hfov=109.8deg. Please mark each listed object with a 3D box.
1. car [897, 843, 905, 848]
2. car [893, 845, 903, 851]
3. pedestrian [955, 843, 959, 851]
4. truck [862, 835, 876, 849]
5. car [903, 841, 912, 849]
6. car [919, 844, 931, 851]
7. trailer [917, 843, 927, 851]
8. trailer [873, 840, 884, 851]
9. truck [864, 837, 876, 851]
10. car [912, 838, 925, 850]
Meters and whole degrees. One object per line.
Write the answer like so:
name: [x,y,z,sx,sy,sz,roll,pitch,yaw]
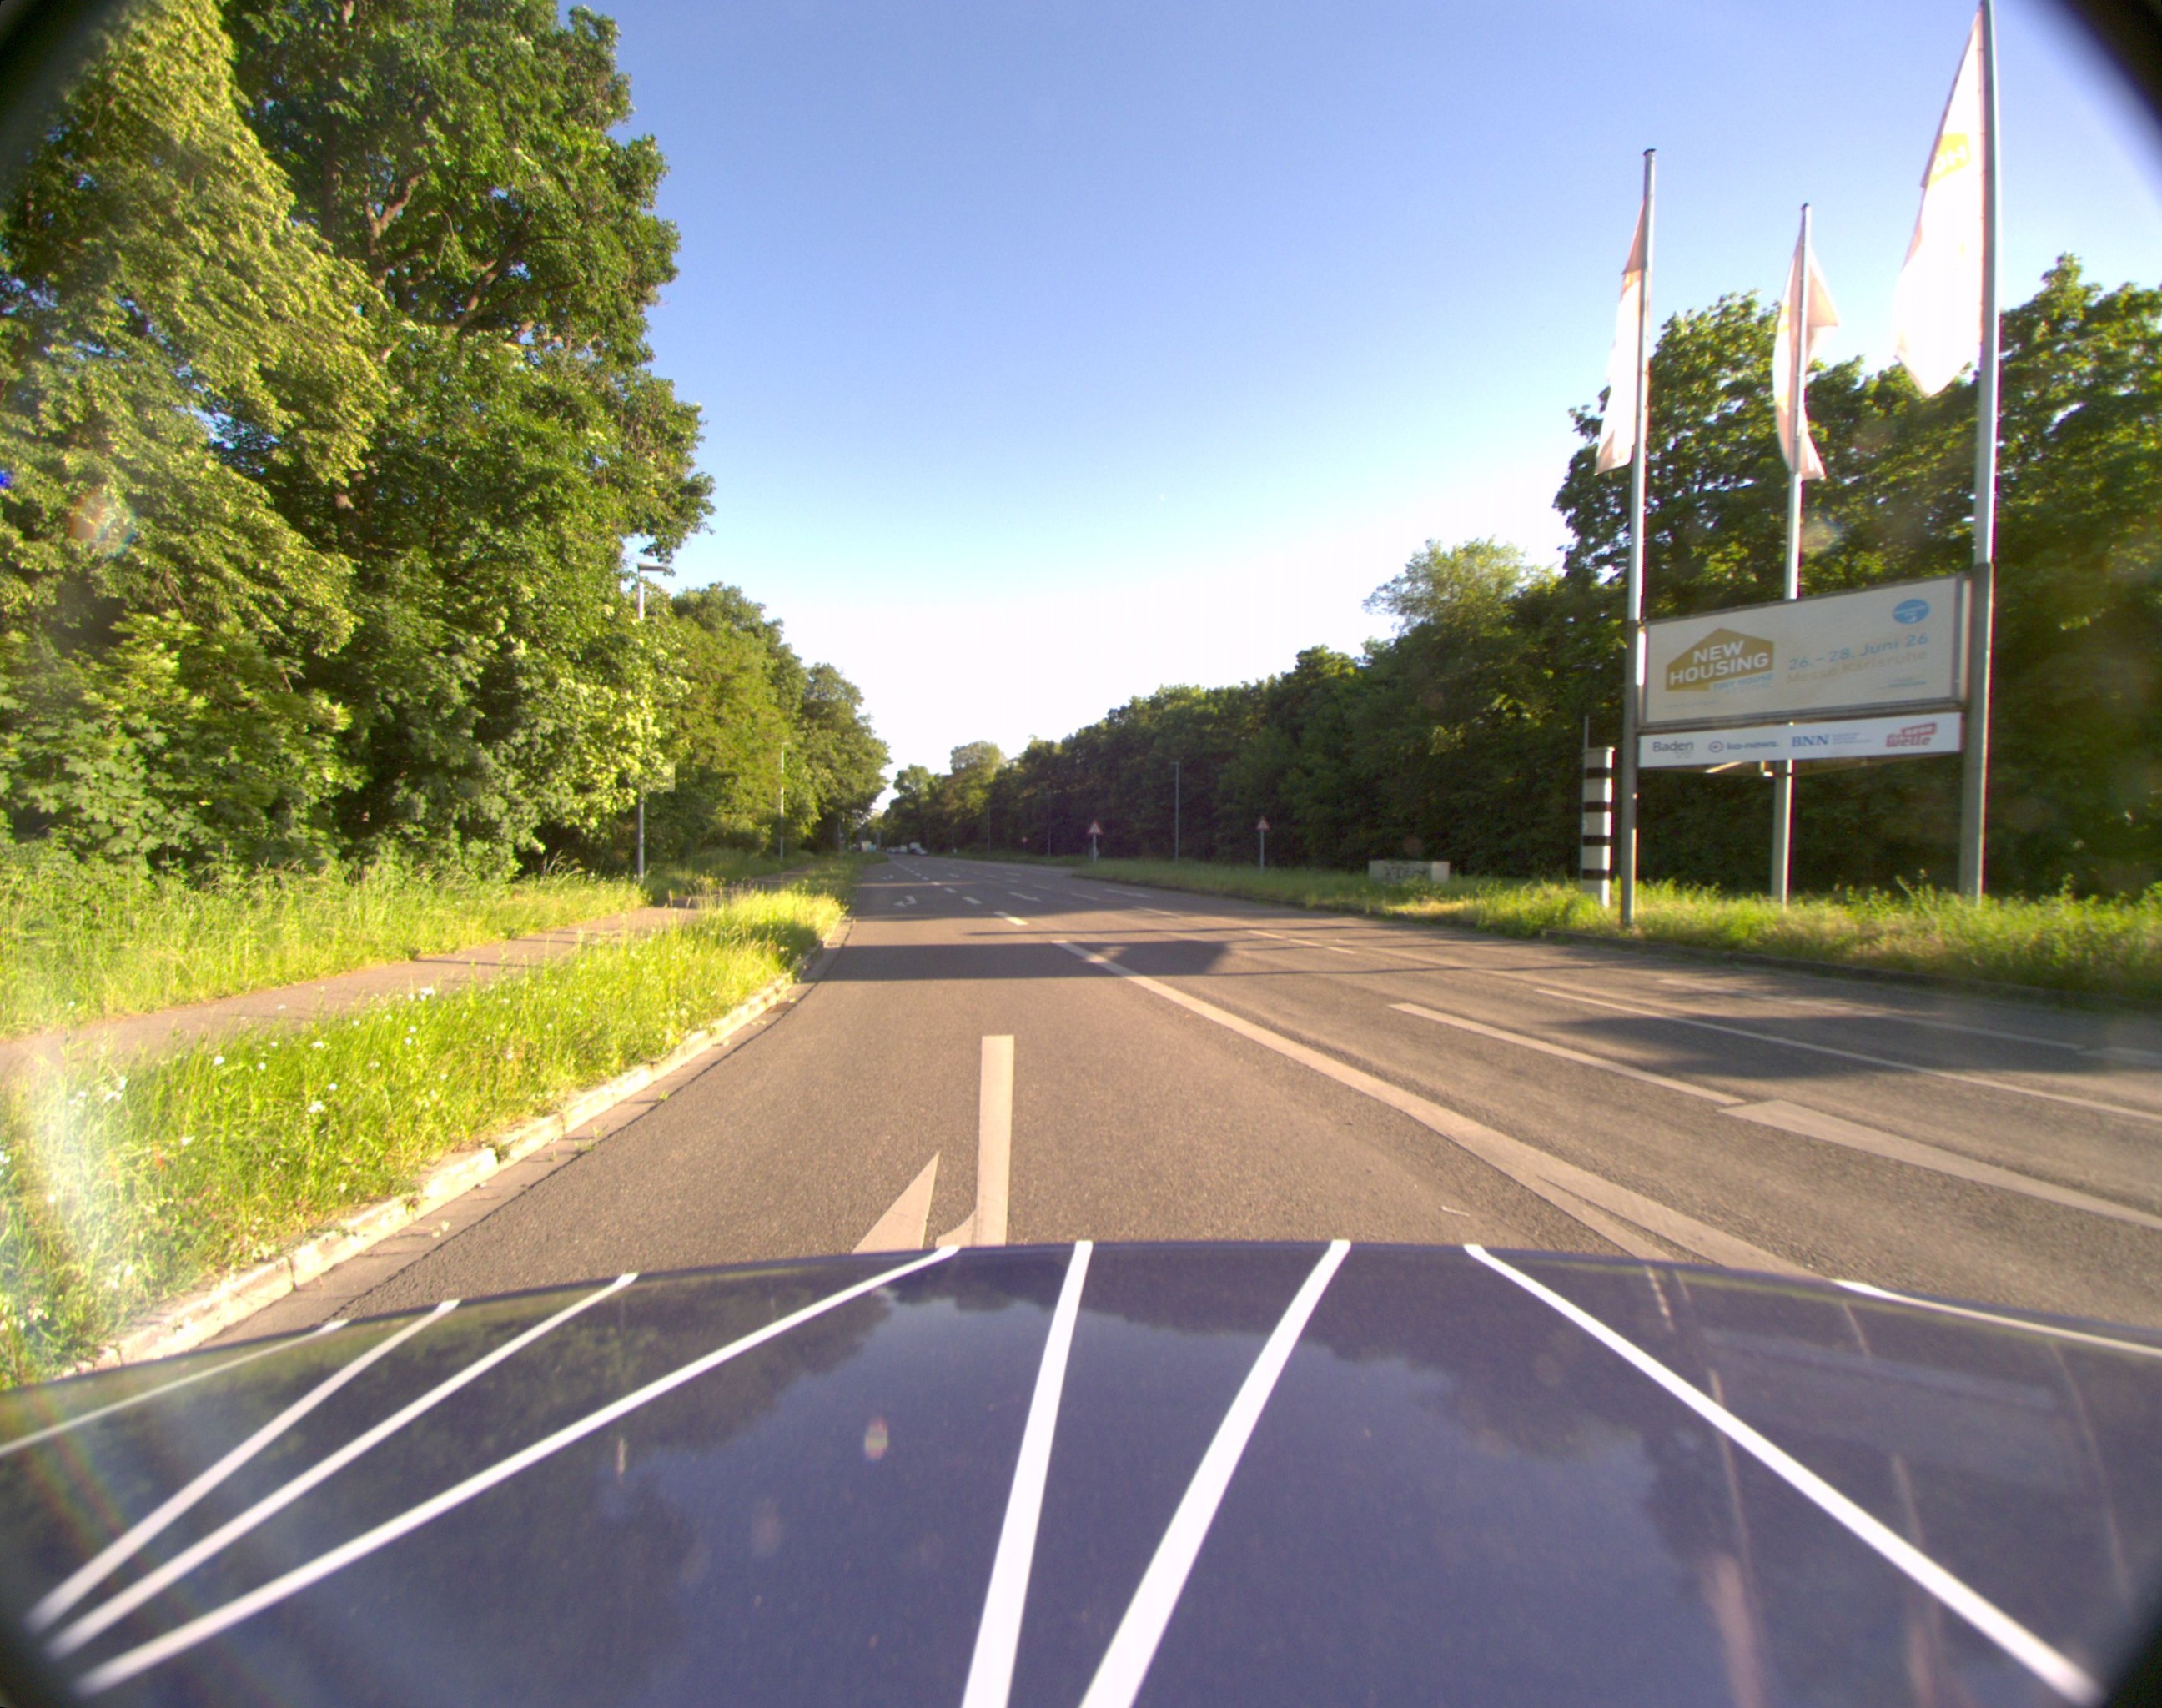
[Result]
car: [-52.875,-2.533,222.738,1.809,1.496,3.905,2,1,-19]
car: [-46.363,-1.631,192.623,1.836,1.447,4.472,0,1,-20]
pedestrian: [-24.503,-1.400,150.521,0.714,1.556,0.824,1,1,-16]
truck: [-50.950,-2.956,182.318,2.710,3.219,7.115,1,1,-19]
car: [-48.188,-2.553,211.090,1.694,2.089,4.624,1,1,-19]
car: [-33.751,-1.394,164.216,1.918,1.455,4.004,2,1,-19]
trailer: [-35.398,-1.597,168.943,1.809,1.719,3.641,2,1,-19]
trailer: [-41.850,-1.743,156.811,1.872,2.166,4.121,-1,2,-19]
truck: [-48.144,-2.314,173.299,2.393,2.856,5.588,-2,2,-19]
car: [-38.749,-2.441,180.765,2.464,2.831,4.790,1,1,-19]
